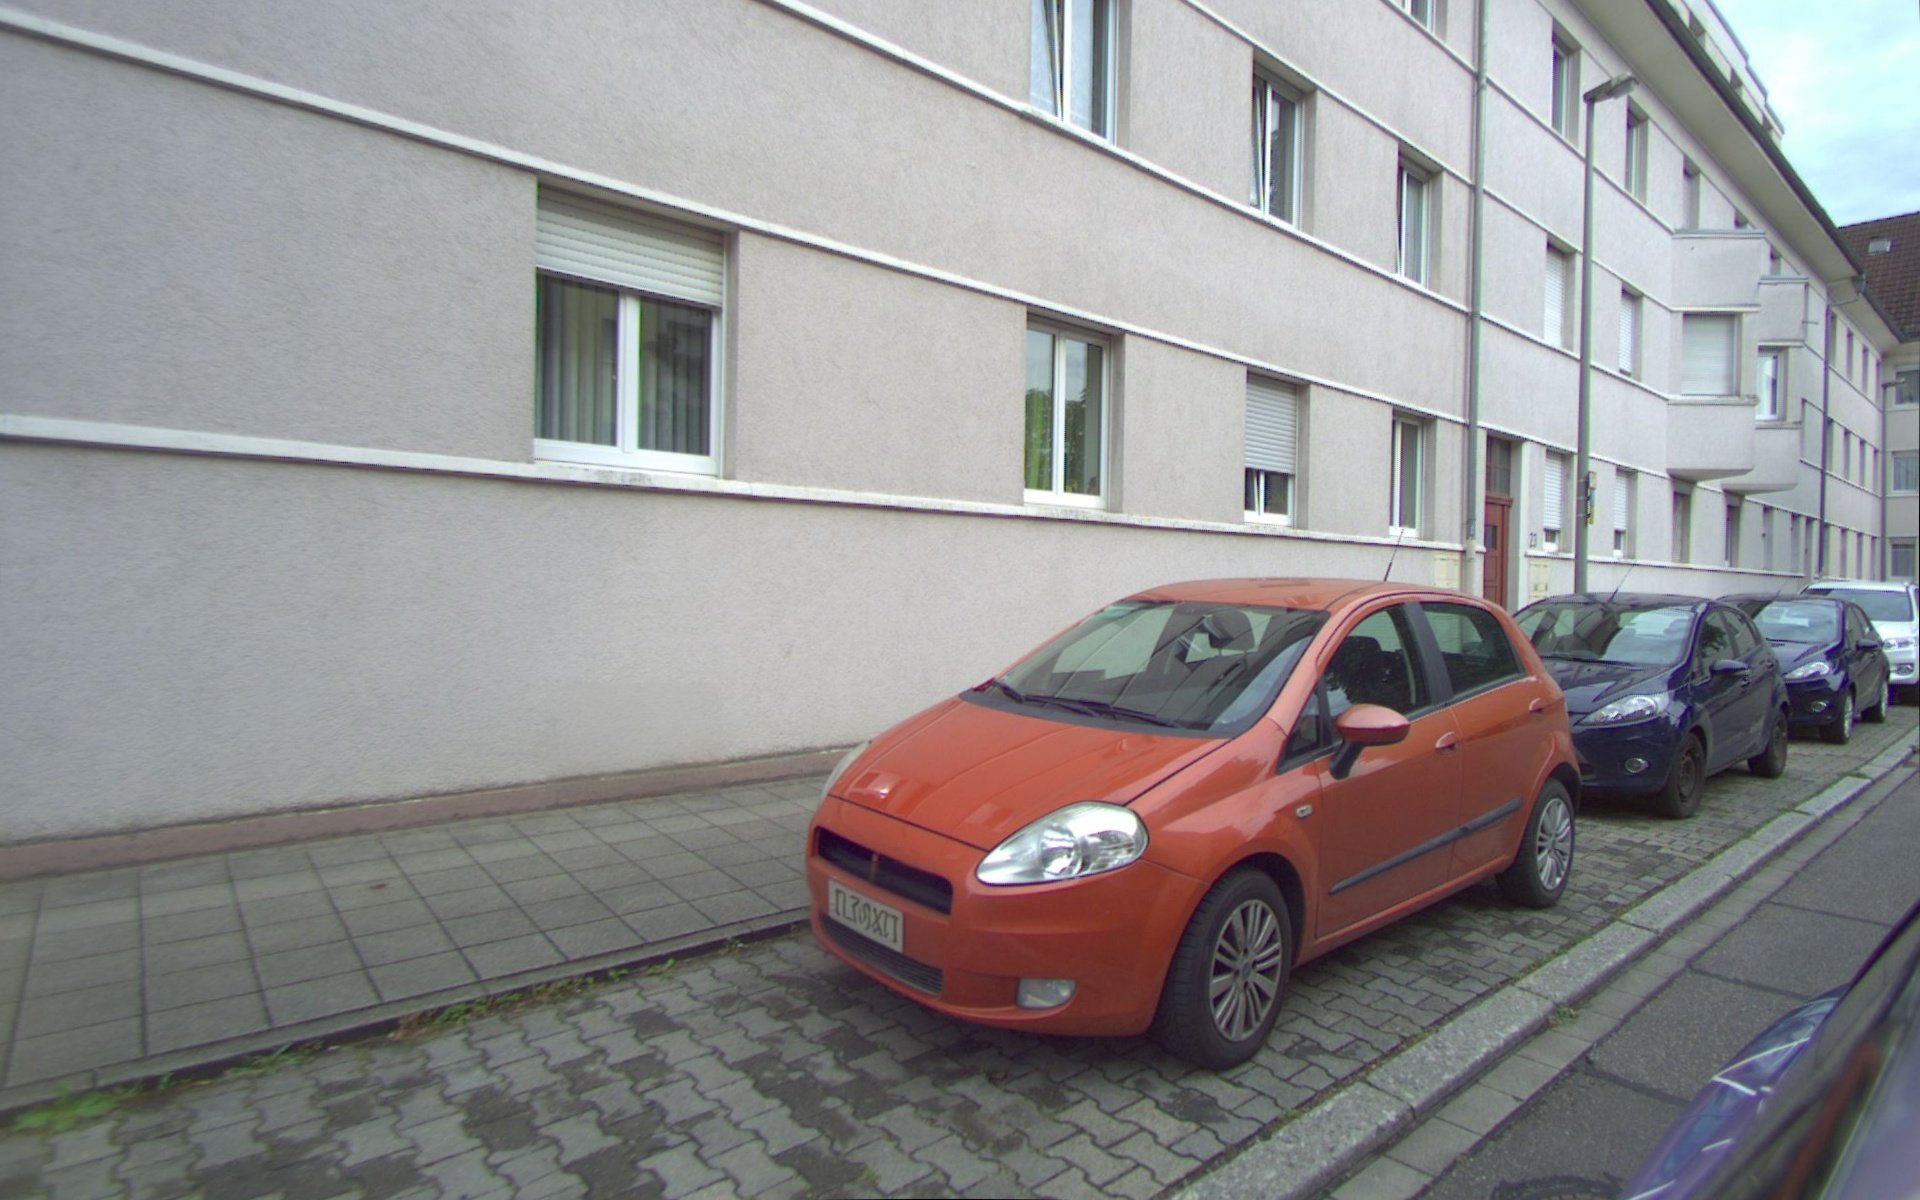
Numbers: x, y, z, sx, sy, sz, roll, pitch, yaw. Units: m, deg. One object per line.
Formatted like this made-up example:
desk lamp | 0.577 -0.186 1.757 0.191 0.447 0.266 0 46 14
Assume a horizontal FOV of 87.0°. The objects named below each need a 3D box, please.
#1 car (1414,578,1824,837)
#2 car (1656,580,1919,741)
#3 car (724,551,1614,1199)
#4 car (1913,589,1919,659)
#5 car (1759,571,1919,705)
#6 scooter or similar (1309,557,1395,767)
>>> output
car | 5.141 0.622 7.737 3.630 1.492 1.571 0 2 -39
car | 9.374 0.563 11.361 3.801 1.497 1.571 0 1 -40
car | 1.123 0.627 4.259 3.758 1.544 1.700 0 2 -40
car | 22.053 0.529 21.846 4.864 1.438 1.748 0 2 -42
car | 13.449 0.474 14.990 4.216 1.694 1.845 0 2 -42
scooter or similar | 3.886 0.605 10.059 0.665 2.040 0.346 -1 -2 -1
